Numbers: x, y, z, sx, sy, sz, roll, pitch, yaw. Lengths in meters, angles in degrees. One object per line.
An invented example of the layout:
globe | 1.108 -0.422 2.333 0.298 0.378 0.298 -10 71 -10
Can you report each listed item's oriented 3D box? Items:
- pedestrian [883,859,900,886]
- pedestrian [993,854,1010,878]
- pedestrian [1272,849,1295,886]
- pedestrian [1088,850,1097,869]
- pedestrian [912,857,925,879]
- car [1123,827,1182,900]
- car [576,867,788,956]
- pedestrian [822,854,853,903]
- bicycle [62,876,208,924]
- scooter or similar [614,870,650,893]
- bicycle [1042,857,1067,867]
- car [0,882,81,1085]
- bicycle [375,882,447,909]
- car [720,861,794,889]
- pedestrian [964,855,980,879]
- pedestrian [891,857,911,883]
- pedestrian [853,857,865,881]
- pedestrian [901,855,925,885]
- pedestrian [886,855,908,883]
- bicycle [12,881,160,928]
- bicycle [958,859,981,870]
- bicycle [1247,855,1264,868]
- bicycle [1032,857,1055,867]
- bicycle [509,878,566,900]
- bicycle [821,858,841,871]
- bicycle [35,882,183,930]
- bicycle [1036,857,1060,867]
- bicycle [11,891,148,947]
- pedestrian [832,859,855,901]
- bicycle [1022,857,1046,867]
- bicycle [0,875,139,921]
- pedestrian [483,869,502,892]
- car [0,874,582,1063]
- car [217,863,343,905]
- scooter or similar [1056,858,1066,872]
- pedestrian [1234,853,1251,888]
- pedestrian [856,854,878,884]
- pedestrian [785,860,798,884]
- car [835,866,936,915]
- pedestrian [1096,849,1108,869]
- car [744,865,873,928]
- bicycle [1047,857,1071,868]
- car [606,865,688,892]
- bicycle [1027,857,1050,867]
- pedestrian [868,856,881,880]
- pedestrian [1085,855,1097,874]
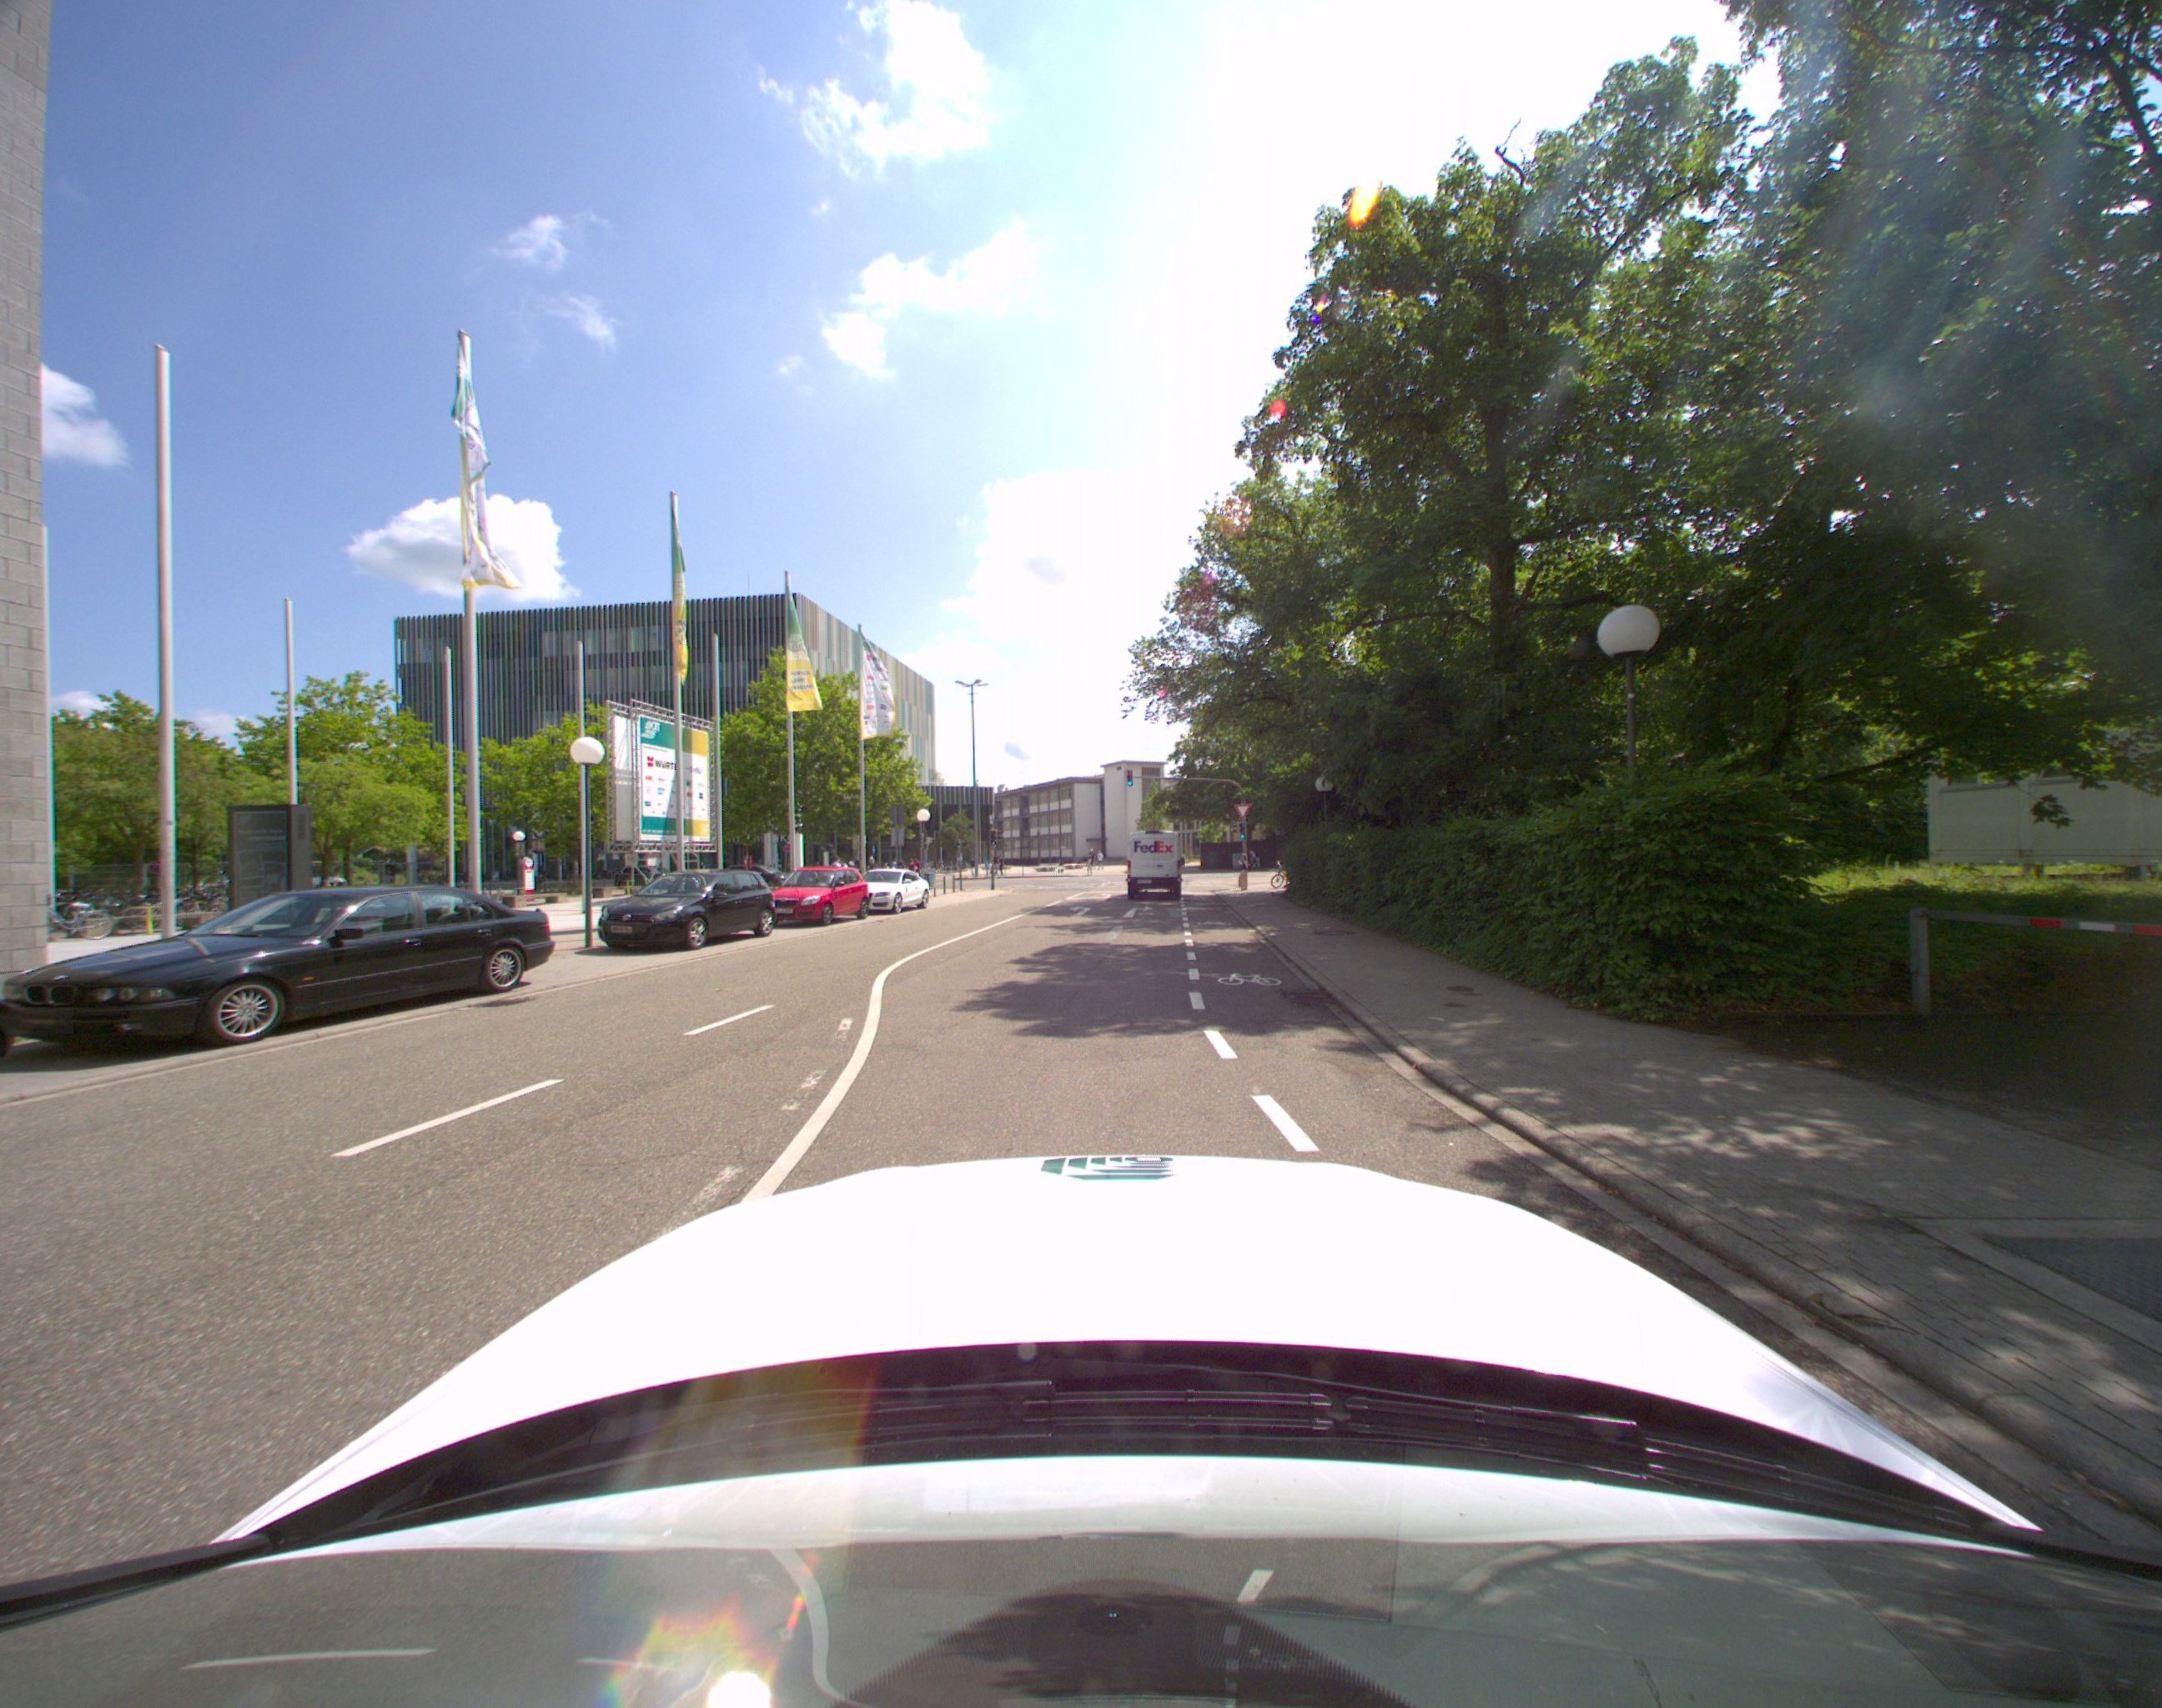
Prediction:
pedestrian | -11.737 1.133 50.520 0.766 1.598 0.800 -2 0 8
pedestrian | -6.426 0.956 65.890 0.822 1.870 1.091 -2 0 30
pedestrian | 9.133 0.610 36.724 0.728 1.576 0.727 -4 -2 0
pedestrian | 1.095 0.527 77.563 0.669 1.815 0.812 -1 0 -13
pedestrian | -12.562 1.108 63.021 0.750 1.678 0.756 -2 0 5
car | 2.859 0.326 31.909 2.084 2.566 5.611 0 0 6
car | -7.803 1.042 16.458 1.738 1.467 4.206 1 0 8
pedestrian | -9.425 0.946 31.587 0.715 1.851 1.092 0 0 10
bicycle | -30.993 1.465 26.774 1.054 1.411 2.963 -1 0 15
scooter or similar | -23.700 1.447 42.988 1.717 1.196 0.495 -1 0 12
bicycle | -3.451 1.042 106.183 2.975 1.363 1.106 0 -1 -31
car | -8.918 0.959 4.655 1.630 1.467 3.713 1 0 6
bicycle | -31.789 1.956 38.722 0.995 1.148 2.950 -1 0 -1
car | -21.695 1.396 54.581 4.258 1.661 1.656 -2 0 7
pedestrian | -8.654 1.025 64.531 0.697 1.855 1.405 -2 1 16
pedestrian | -11.621 1.011 52.658 0.818 1.654 0.867 -2 0 26
pedestrian | -23.440 1.556 85.915 0.978 2.565 1.005 0 -1 -30
pedestrian | -10.434 0.980 50.476 0.799 1.807 1.274 -2 0 24
pedestrian | -12.194 0.977 53.978 0.853 1.819 1.103 -2 0 30
bicycle | -33.239 1.652 27.300 1.054 1.411 2.963 -1 0 15
bicycle | -12.287 1.173 89.495 1.207 1.237 2.917 0 -1 -39
bicycle | 15.093 0.643 70.261 0.839 1.145 2.008 -2 0 29
bicycle | -4.994 1.045 108.642 2.975 1.363 1.106 0 -1 -31
bicycle | -28.530 1.843 42.783 2.596 1.113 0.666 -1 -1 4
bicycle | -24.902 1.026 81.150 1.381 1.237 2.924 0 0 -28
bicycle | -32.134 1.672 27.021 1.054 1.411 2.963 -1 0 15
bicycle | -4.343 1.061 107.551 2.975 1.363 1.263 0 -1 -31
bicycle | -24.579 1.572 20.064 0.645 1.215 2.098 -1 0 7
pedestrian | -10.687 1.171 36.676 0.715 1.859 0.772 -1 0 8
bicycle | -6.409 1.074 111.028 2.975 1.363 1.106 0 -1 -31
bicycle | -34.294 1.460 27.580 1.054 1.411 2.963 -1 0 15
pedestrian | -56.825 2.521 78.646 0.967 2.176 1.130 -1 -1 6
car | -8.361 0.982 9.165 1.849 1.378 5.028 1 0 8
car | -40.850 1.535 41.585 4.739 1.939 1.868 -2 0 4
scooter or similar | -1.772 0.990 72.550 0.715 1.178 2.721 -1 0 -4
pedestrian | 7.322 0.730 36.870 0.726 1.576 0.778 0 0 13
pedestrian | -13.902 0.983 52.965 0.844 1.876 1.012 -2 0 29
pedestrian | -31.117 1.940 87.596 0.967 2.565 1.016 -1 -1 6
car | -6.284 1.123 26.743 1.667 1.395 4.672 1 0 7
pedestrian | 1.956 0.460 76.904 0.866 1.889 0.909 -1 0 -13
car | -7.115 1.052 21.694 1.667 1.467 3.919 1 0 7
bicycle | -2.842 1.133 105.010 2.975 1.363 1.106 0 -1 -31
car | -29.413 1.644 55.199 4.783 1.661 1.656 -2 0 7
bicycle | -5.748 1.056 109.894 2.975 1.363 1.106 0 -1 -31
pedestrian | -22.016 1.466 86.785 0.980 2.565 1.003 0 -1 -36
pedestrian | 0.844 0.890 68.507 0.826 1.523 0.811 -1 0 -13
